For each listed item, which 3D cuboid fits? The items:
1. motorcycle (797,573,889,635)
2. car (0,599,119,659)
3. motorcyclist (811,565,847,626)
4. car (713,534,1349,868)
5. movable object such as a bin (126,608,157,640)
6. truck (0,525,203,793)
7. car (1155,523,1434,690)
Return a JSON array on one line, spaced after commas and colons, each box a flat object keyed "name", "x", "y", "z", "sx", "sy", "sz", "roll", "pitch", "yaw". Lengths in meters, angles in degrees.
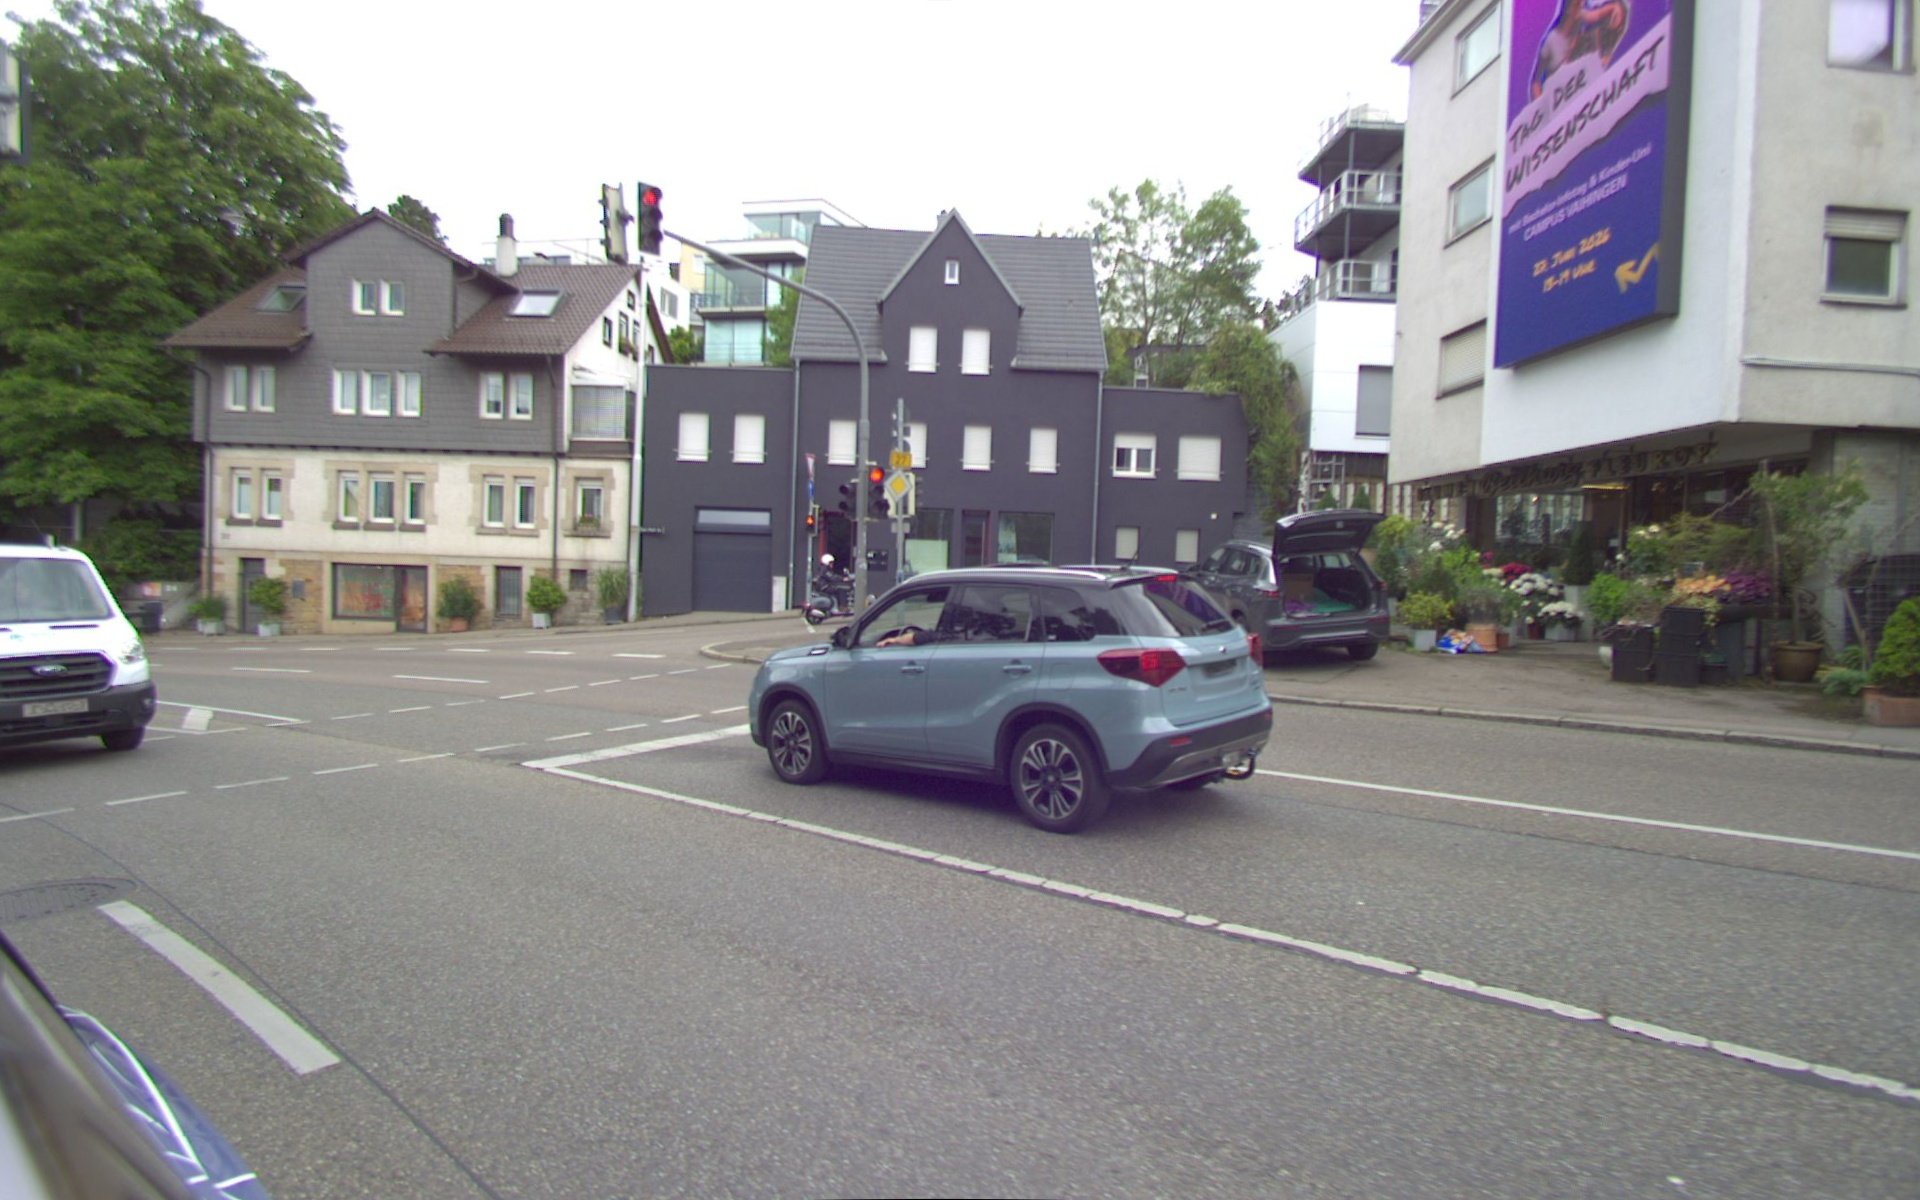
[{"name": "motorcycle", "x": -2.765, "y": 0.082, "z": 24.097, "sx": 2.018, "sy": 1.308, "sz": 0.830, "roll": -3, "pitch": 3, "yaw": 1}, {"name": "car", "x": -27.042, "y": 0.846, "z": 29.028, "sx": 4.331, "sy": 1.579, "sz": 1.887, "roll": -2, "pitch": 1, "yaw": 3}, {"name": "motorcyclist", "x": -3.123, "y": -0.117, "z": 24.164, "sx": 0.713, "sy": 1.429, "sz": 0.684, "roll": -2, "pitch": 1, "yaw": 2}, {"name": "car", "x": 0.281, "y": 0.517, "z": 7.340, "sx": 4.346, "sy": 1.708, "sz": 1.876, "roll": -1, "pitch": 1, "yaw": 42}, {"name": "movable object such as a bin", "x": -27.004, "y": 0.779, "z": 33.394, "sx": 0.641, "sy": 1.027, "sz": 0.537, "roll": 1, "pitch": 2, "yaw": 16}, {"name": "truck", "x": -10.951, "y": 0.556, "z": 10.778, "sx": 6.301, "sy": 2.338, "sz": 2.063, "roll": -1, "pitch": 2, "yaw": 28}, {"name": "car", "x": 4.567, "y": -0.092, "z": 14.747, "sx": 2.286, "sy": 1.724, "sz": 4.708, "roll": -5, "pitch": 6, "yaw": -1}]
